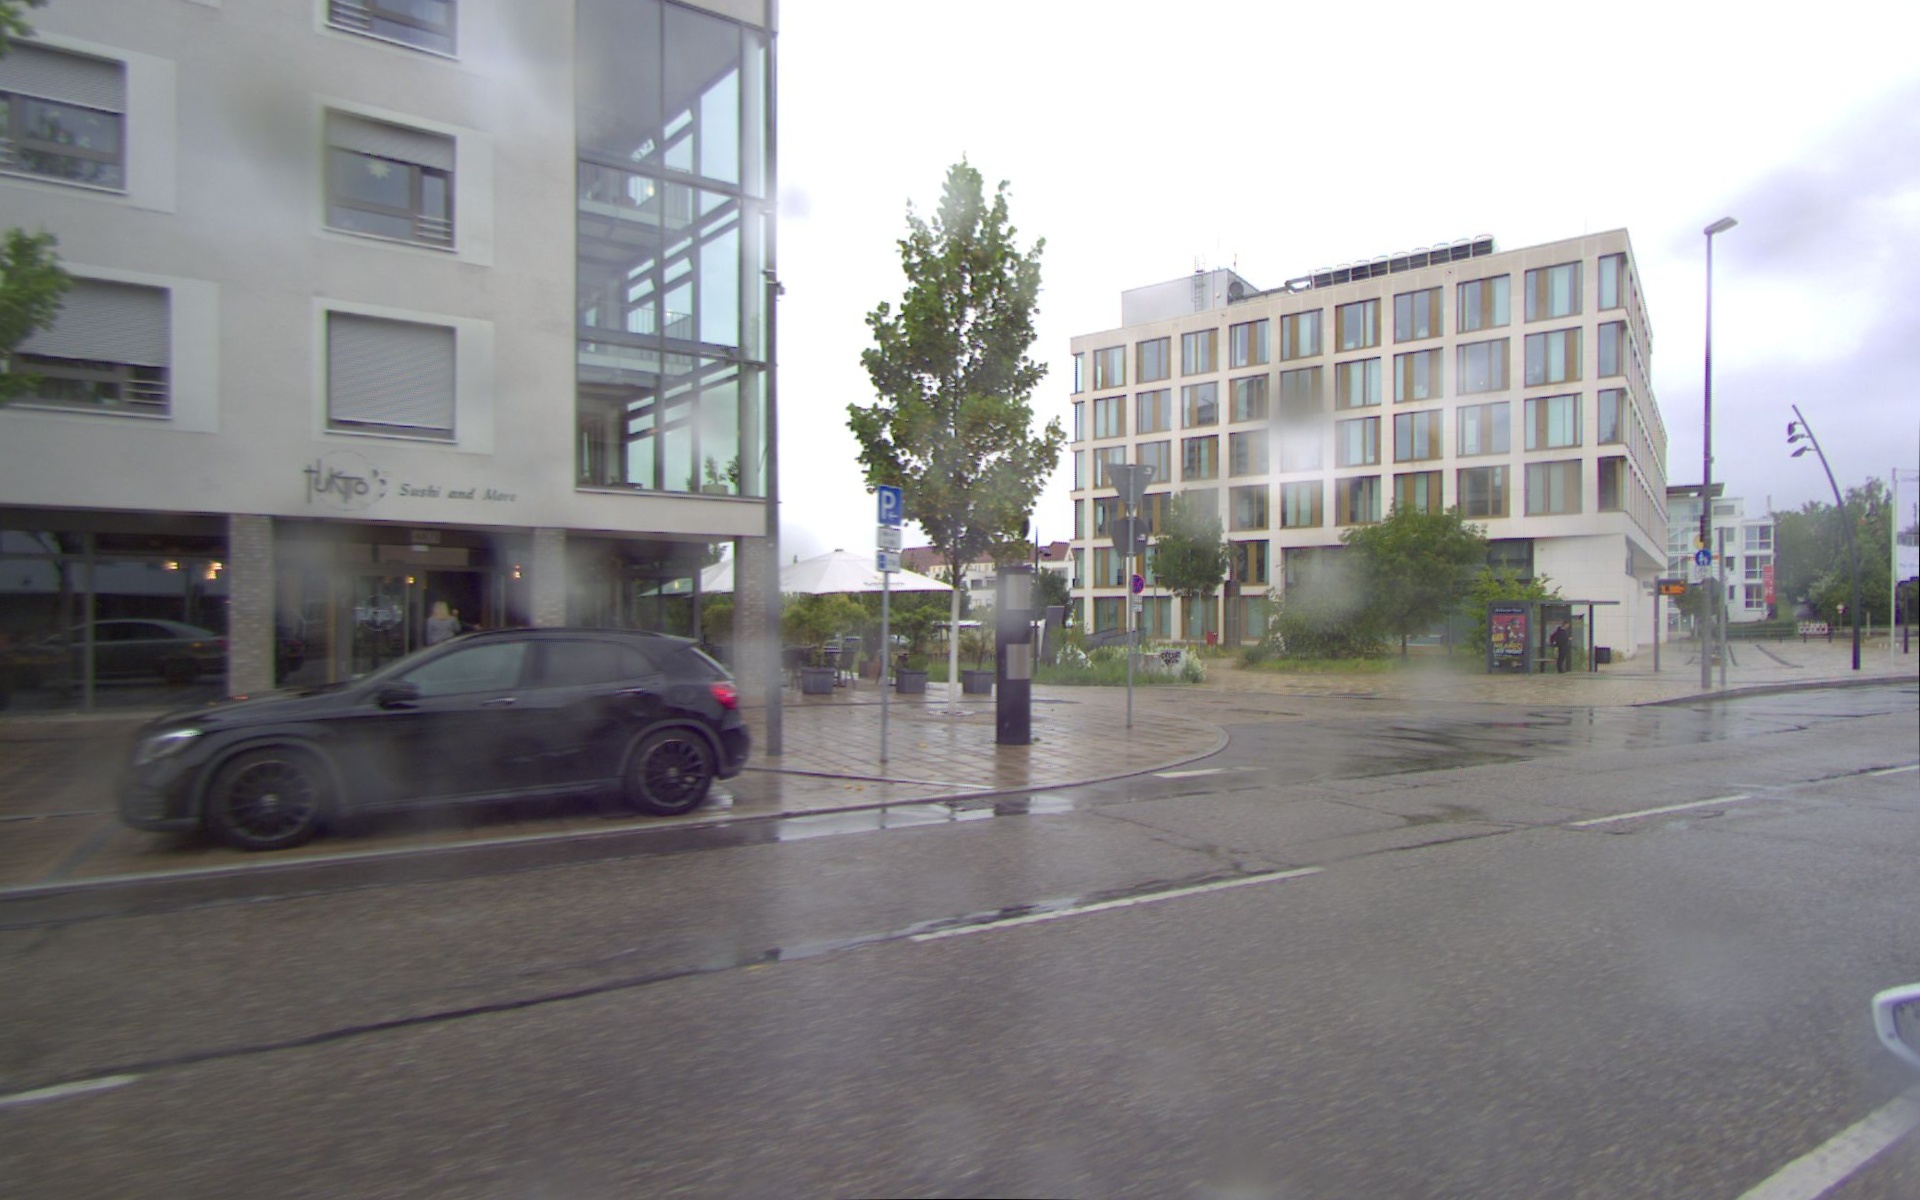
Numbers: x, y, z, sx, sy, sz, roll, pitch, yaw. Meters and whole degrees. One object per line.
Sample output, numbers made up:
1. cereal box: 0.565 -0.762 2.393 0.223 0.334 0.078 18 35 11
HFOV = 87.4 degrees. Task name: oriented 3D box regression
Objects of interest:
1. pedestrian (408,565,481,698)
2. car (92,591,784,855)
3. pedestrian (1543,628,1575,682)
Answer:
1. pedestrian: -8.720 0.529 16.989 0.758 2.173 0.747 1 -2 35
2. car: -3.758 0.805 7.928 4.419 1.603 1.580 1 -2 -31
3. pedestrian: 20.022 1.823 33.581 0.669 1.768 0.775 3 -3 -44
